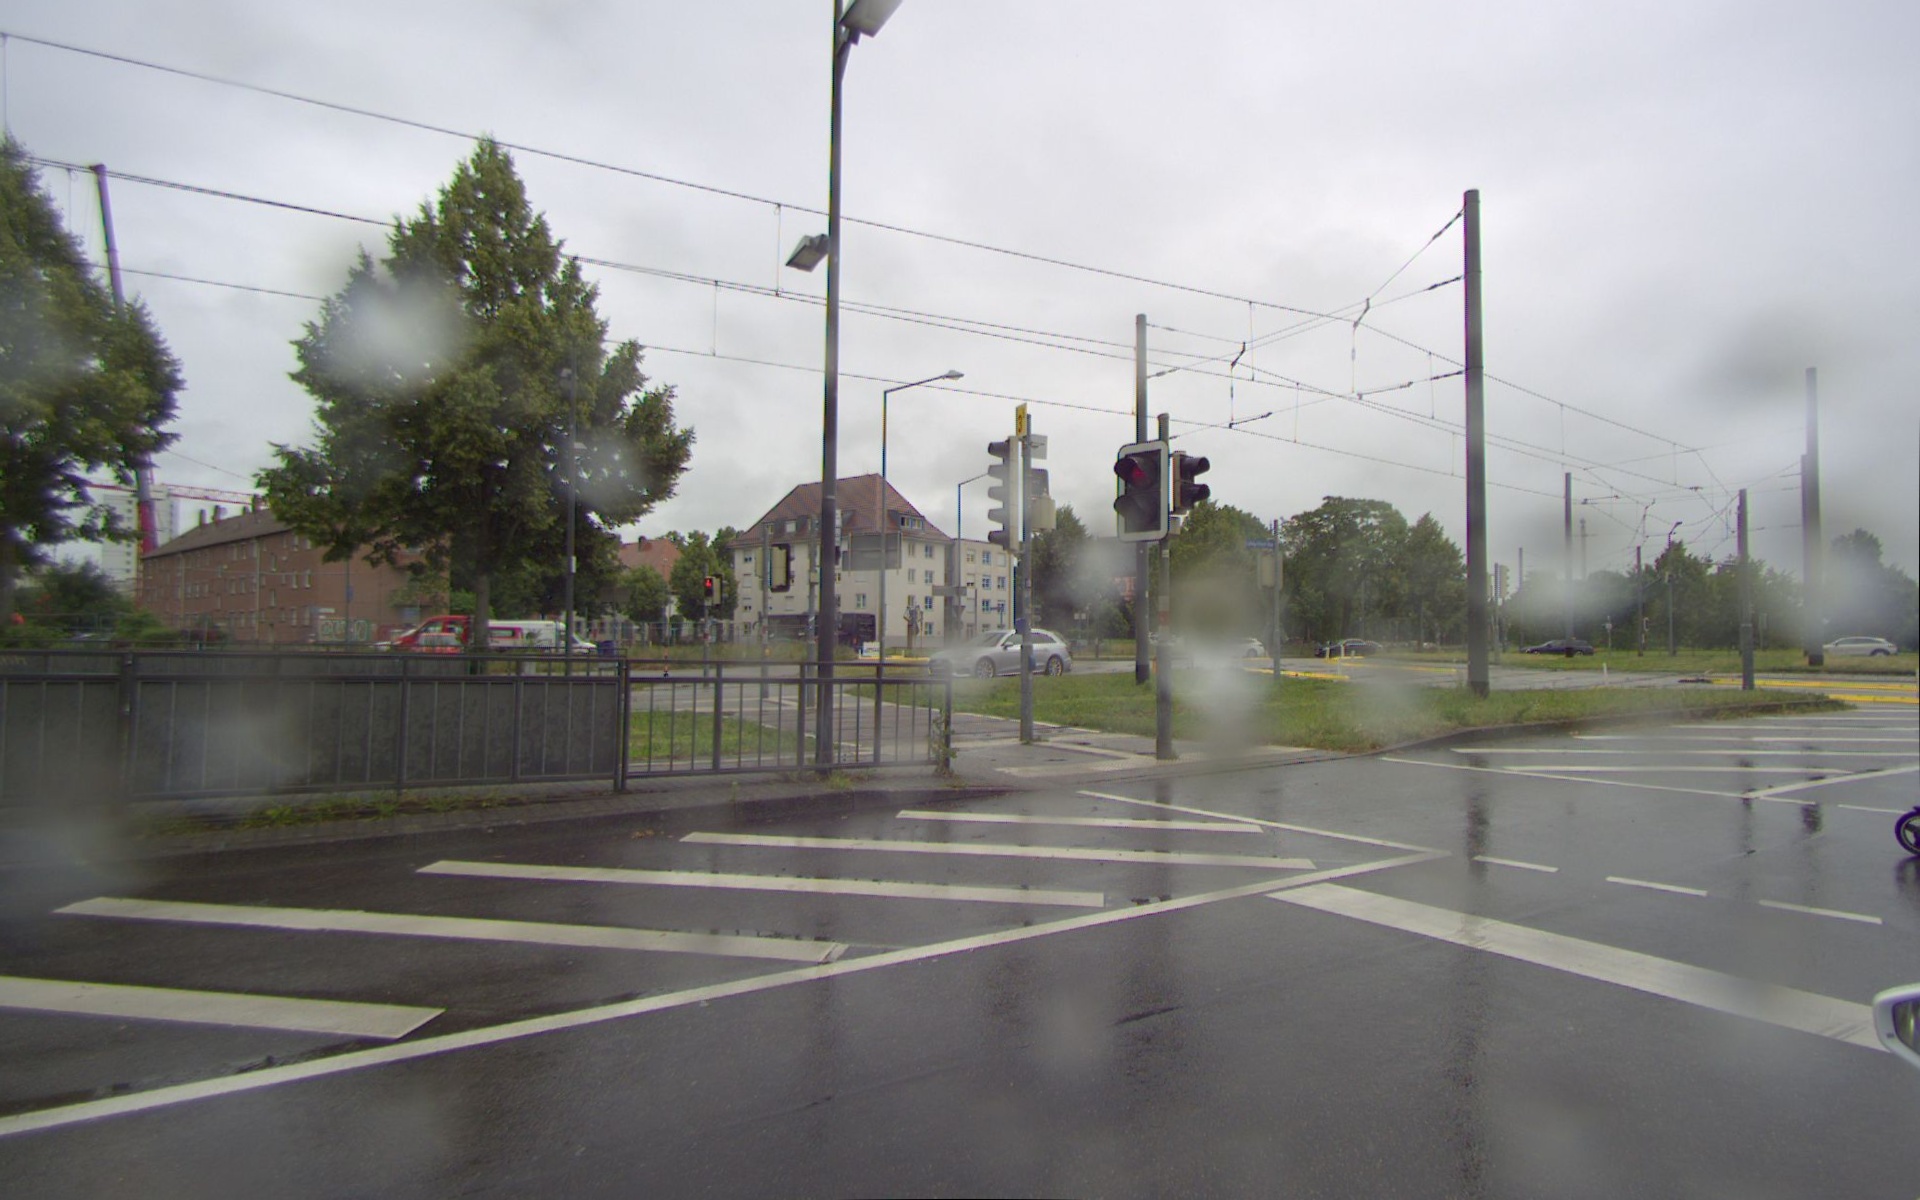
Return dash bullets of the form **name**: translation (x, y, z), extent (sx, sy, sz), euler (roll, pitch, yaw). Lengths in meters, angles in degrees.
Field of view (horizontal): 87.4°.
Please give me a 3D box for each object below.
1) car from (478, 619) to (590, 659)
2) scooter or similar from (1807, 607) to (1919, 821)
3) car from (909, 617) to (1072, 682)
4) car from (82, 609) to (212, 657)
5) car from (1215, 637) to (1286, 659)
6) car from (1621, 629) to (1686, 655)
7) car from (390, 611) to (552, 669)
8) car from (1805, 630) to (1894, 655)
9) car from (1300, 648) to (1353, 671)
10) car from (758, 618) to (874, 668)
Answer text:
- **car**: translation (-25.319, 2.322, 59.928), extent (6.004, 2.308, 1.617), euler (1, -2, -18)
- **scooter or similar**: translation (6.126, 0.702, 5.980), extent (0.443, 1.276, 1.574), euler (2, 0, -35)
- **car**: translation (0.903, 1.339, 27.729), extent (4.371, 1.649, 1.975), euler (2, -2, -42)
- **car**: translation (-45.043, 1.869, 55.847), extent (5.441, 2.485, 1.980), euler (2, 0, -36)
- **car**: translation (20.270, 3.315, 70.124), extent (4.530, 1.473, 1.624), euler (0, -2, 3)
- **car**: translation (54.258, 3.259, 78.653), extent (3.921, 1.840, 1.681), euler (2, 0, -1)
- **car**: translation (-21.863, 1.803, 45.209), extent (6.389, 2.503, 1.616), euler (1, -2, -20)
- **car**: translation (55.041, 2.624, 62.280), extent (4.051, 1.473, 1.616), euler (-1, -2, 40)
- **car**: translation (27.532, 4.467, 75.422), extent (3.427, 1.563, 1.616), euler (2, 0, -17)
- **car**: translation (-11.941, 3.443, 82.421), extent (10.783, 3.770, 2.449), euler (0, -2, 36)
